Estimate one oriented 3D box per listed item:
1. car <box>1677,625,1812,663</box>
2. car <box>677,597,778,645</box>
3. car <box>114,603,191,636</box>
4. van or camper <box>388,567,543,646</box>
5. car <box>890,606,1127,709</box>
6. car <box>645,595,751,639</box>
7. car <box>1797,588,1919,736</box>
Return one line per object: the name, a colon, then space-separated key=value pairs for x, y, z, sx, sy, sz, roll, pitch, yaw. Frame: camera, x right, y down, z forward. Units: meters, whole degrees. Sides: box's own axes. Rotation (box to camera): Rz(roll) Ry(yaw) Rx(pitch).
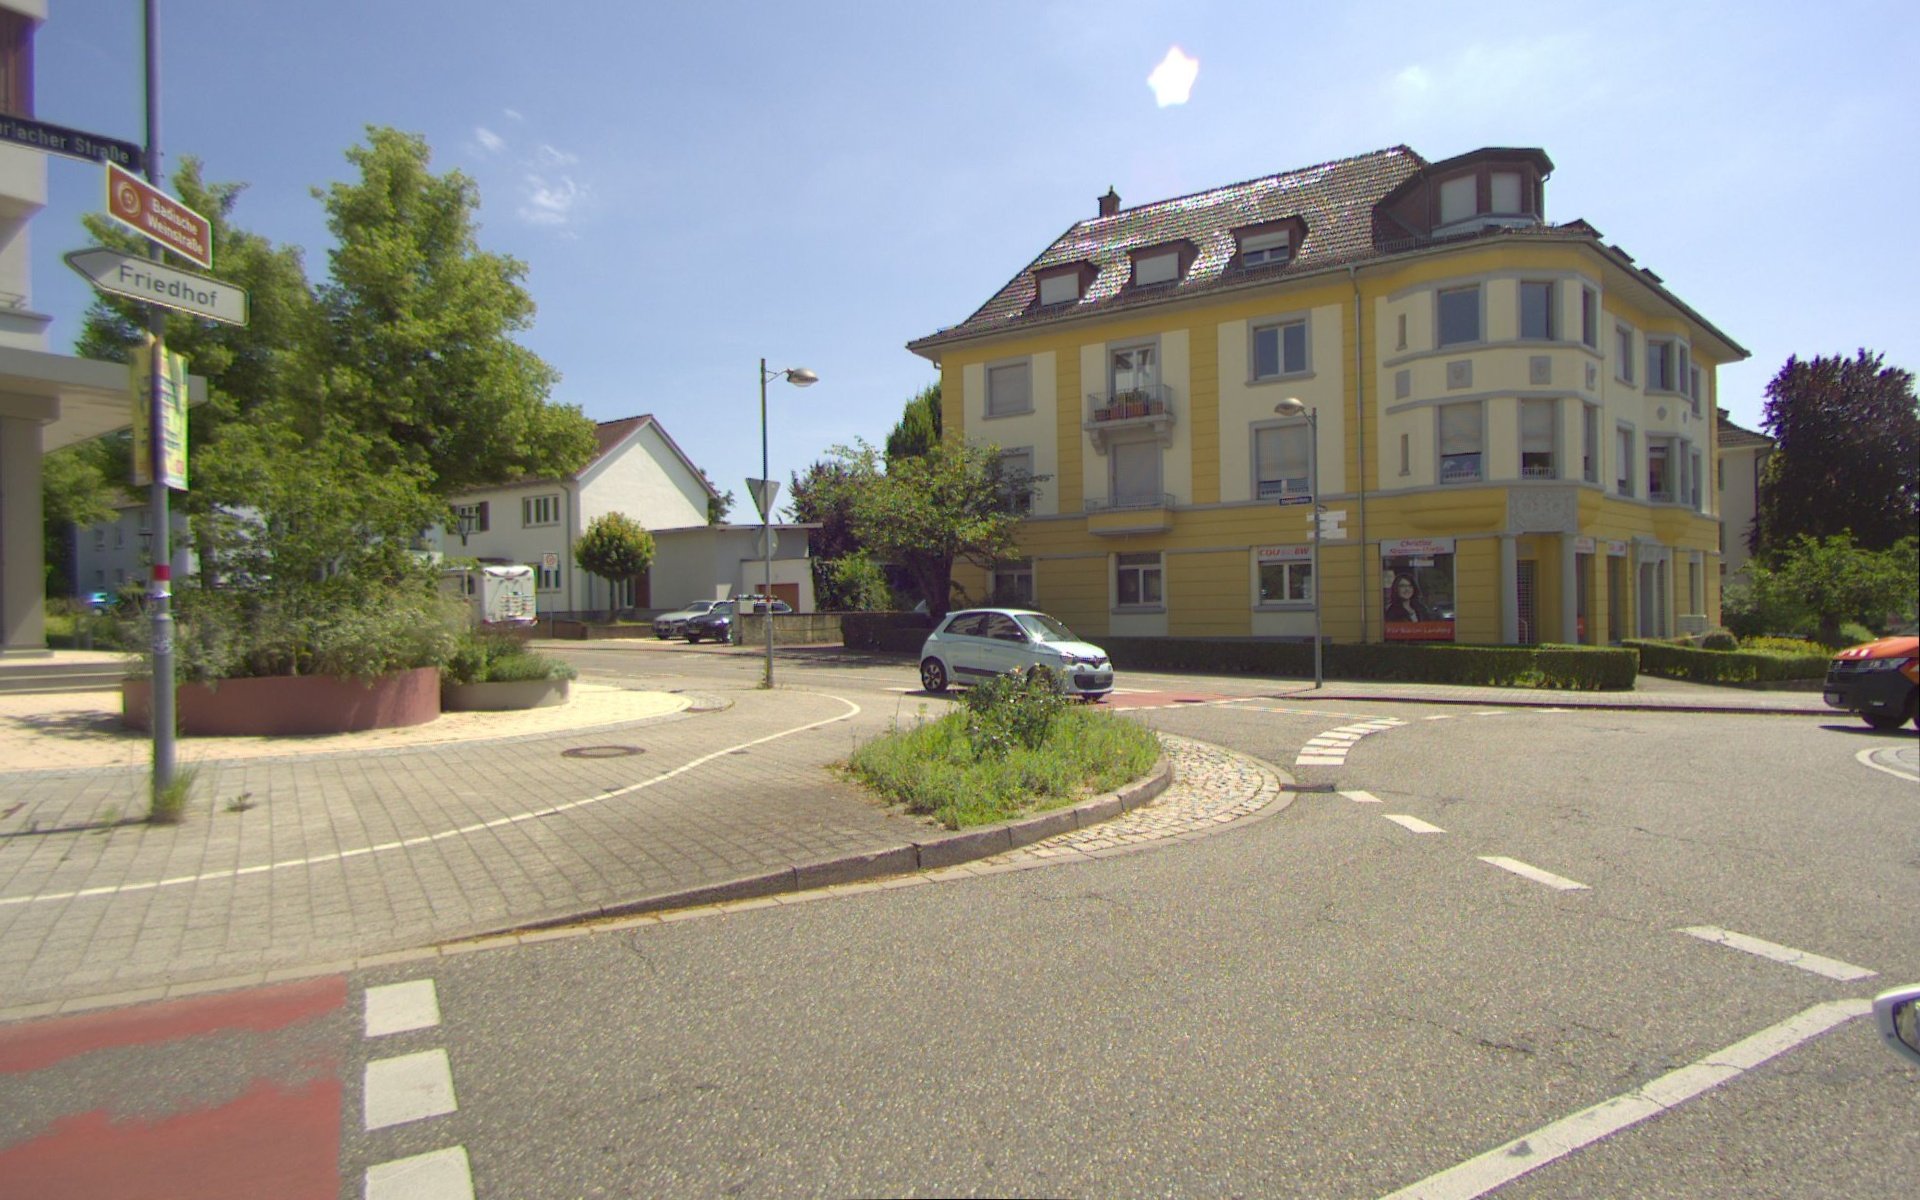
car: x=34.191 y=1.889 z=43.940 sx=4.339 sy=1.529 sz=1.997 roll=0 pitch=-1 yaw=29
car: x=-8.214 y=0.722 z=35.870 sx=1.721 sy=1.607 sz=3.993 roll=0 pitch=-1 yaw=17
car: x=-39.387 y=0.940 z=48.984 sx=3.923 sy=1.525 sz=1.752 roll=0 pitch=-1 yaw=32
van or camper: x=-18.111 y=0.180 z=36.705 sx=5.781 sy=2.674 sz=2.269 roll=0 pitch=2 yaw=31
car: x=0.789 y=0.933 z=18.062 sx=4.100 sy=1.545 sz=1.652 roll=2 pitch=1 yaw=41
car: x=-9.993 y=0.652 z=38.546 sx=1.724 sy=1.607 sz=3.987 roll=0 pitch=-1 yaw=27
car: x=14.745 y=0.824 z=13.565 sx=4.926 sy=1.985 sz=1.948 roll=0 pitch=0 yaw=25
